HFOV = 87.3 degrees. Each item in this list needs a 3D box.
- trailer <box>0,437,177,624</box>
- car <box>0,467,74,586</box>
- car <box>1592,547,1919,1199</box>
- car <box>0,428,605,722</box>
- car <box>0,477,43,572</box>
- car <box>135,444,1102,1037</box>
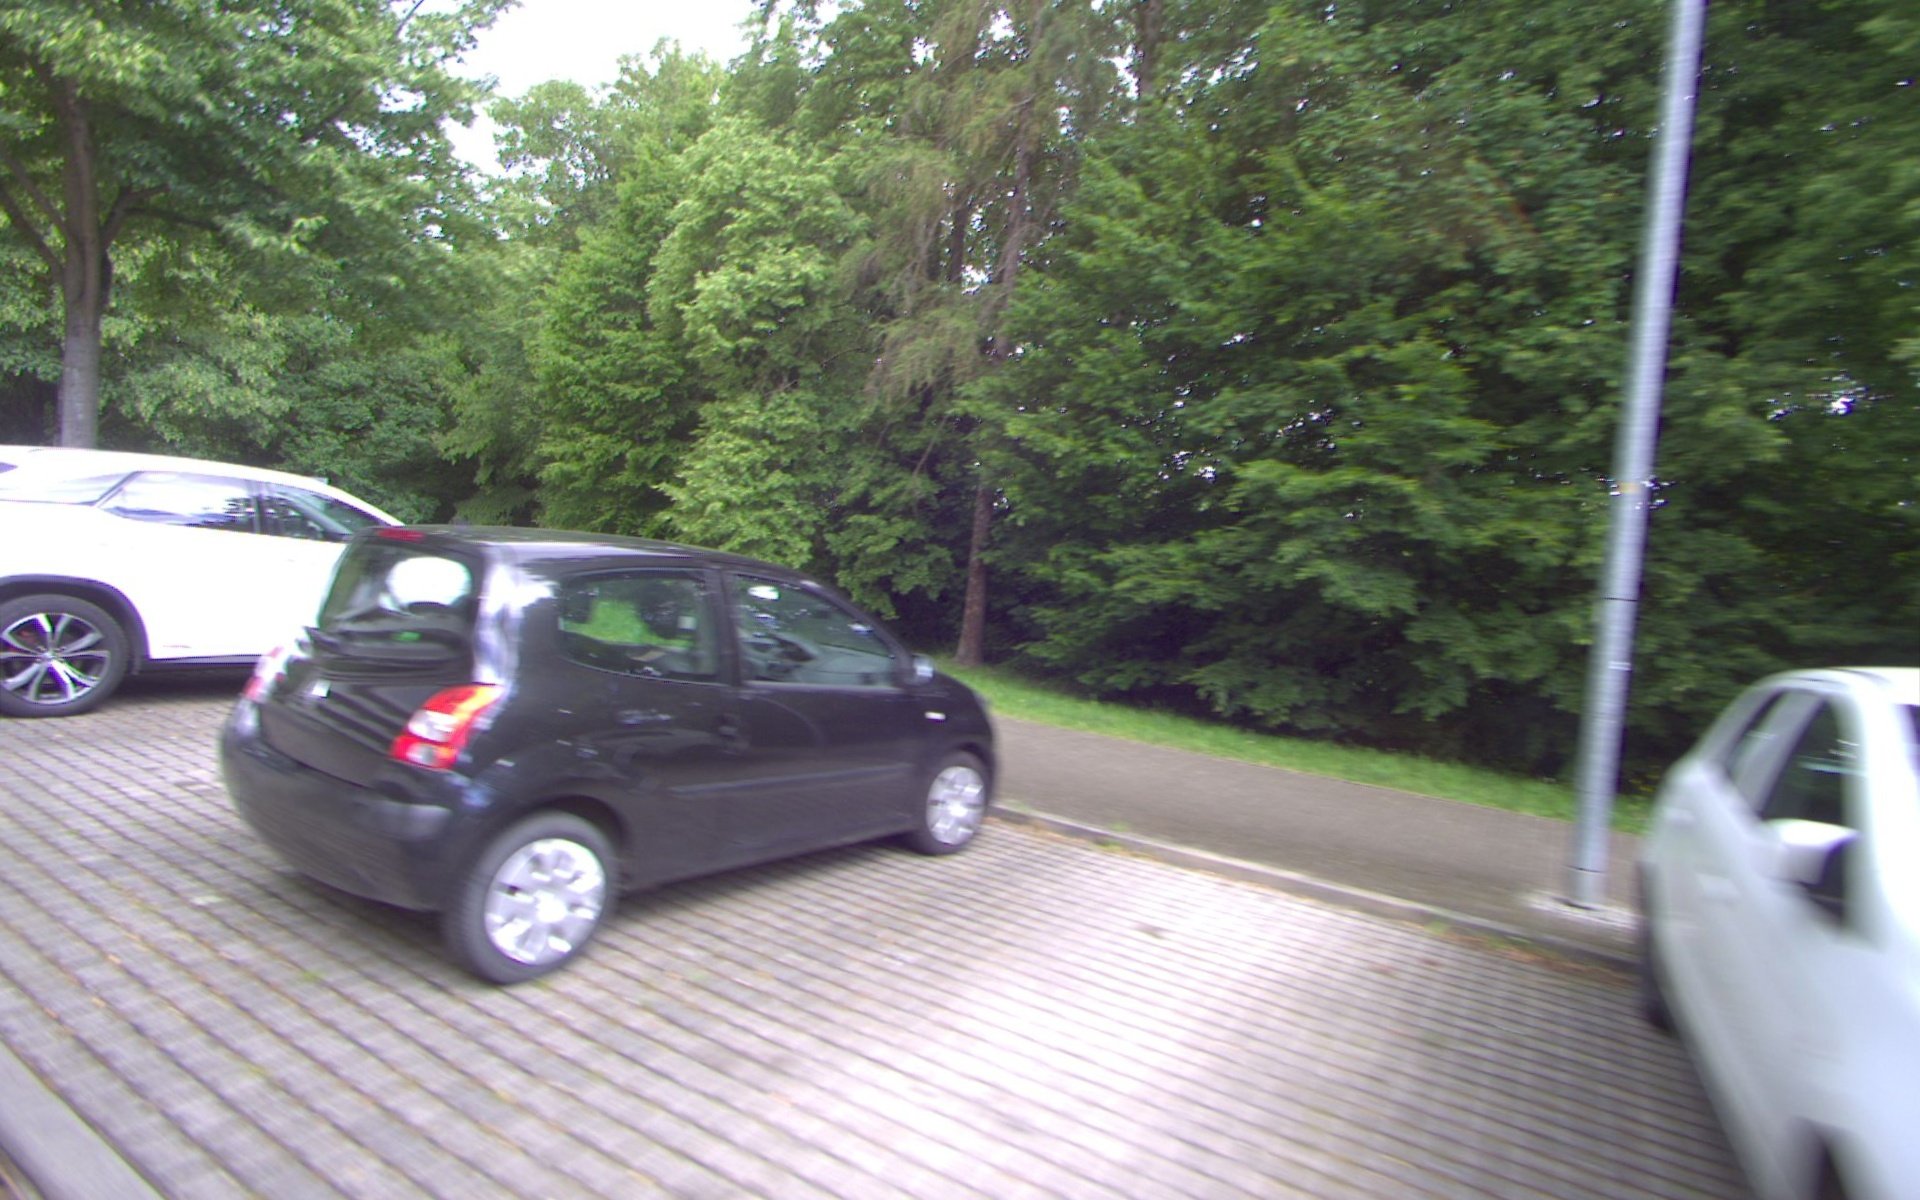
[{"bbox_3d":[-10.067,-0.746,10.130,1.537,1.814,3.031,6,2,29],"label":"trailer"},{"bbox_3d":[-14.332,-1.125,12.858,1.829,1.568,4.116,6,2,29],"label":"car"},{"bbox_3d":[2.930,0.854,2.561,1.755,1.590,4.164,6,1,28],"label":"car"},{"bbox_3d":[-5.459,-0.166,7.769,1.943,1.715,4.815,7,2,35],"label":"car"},{"bbox_3d":[-16.230,-1.294,14.542,1.761,1.441,4.013,6,2,27],"label":"car"},{"bbox_3d":[-1.098,0.411,4.932,1.821,1.590,4.159,6,1,33],"label":"car"}]
